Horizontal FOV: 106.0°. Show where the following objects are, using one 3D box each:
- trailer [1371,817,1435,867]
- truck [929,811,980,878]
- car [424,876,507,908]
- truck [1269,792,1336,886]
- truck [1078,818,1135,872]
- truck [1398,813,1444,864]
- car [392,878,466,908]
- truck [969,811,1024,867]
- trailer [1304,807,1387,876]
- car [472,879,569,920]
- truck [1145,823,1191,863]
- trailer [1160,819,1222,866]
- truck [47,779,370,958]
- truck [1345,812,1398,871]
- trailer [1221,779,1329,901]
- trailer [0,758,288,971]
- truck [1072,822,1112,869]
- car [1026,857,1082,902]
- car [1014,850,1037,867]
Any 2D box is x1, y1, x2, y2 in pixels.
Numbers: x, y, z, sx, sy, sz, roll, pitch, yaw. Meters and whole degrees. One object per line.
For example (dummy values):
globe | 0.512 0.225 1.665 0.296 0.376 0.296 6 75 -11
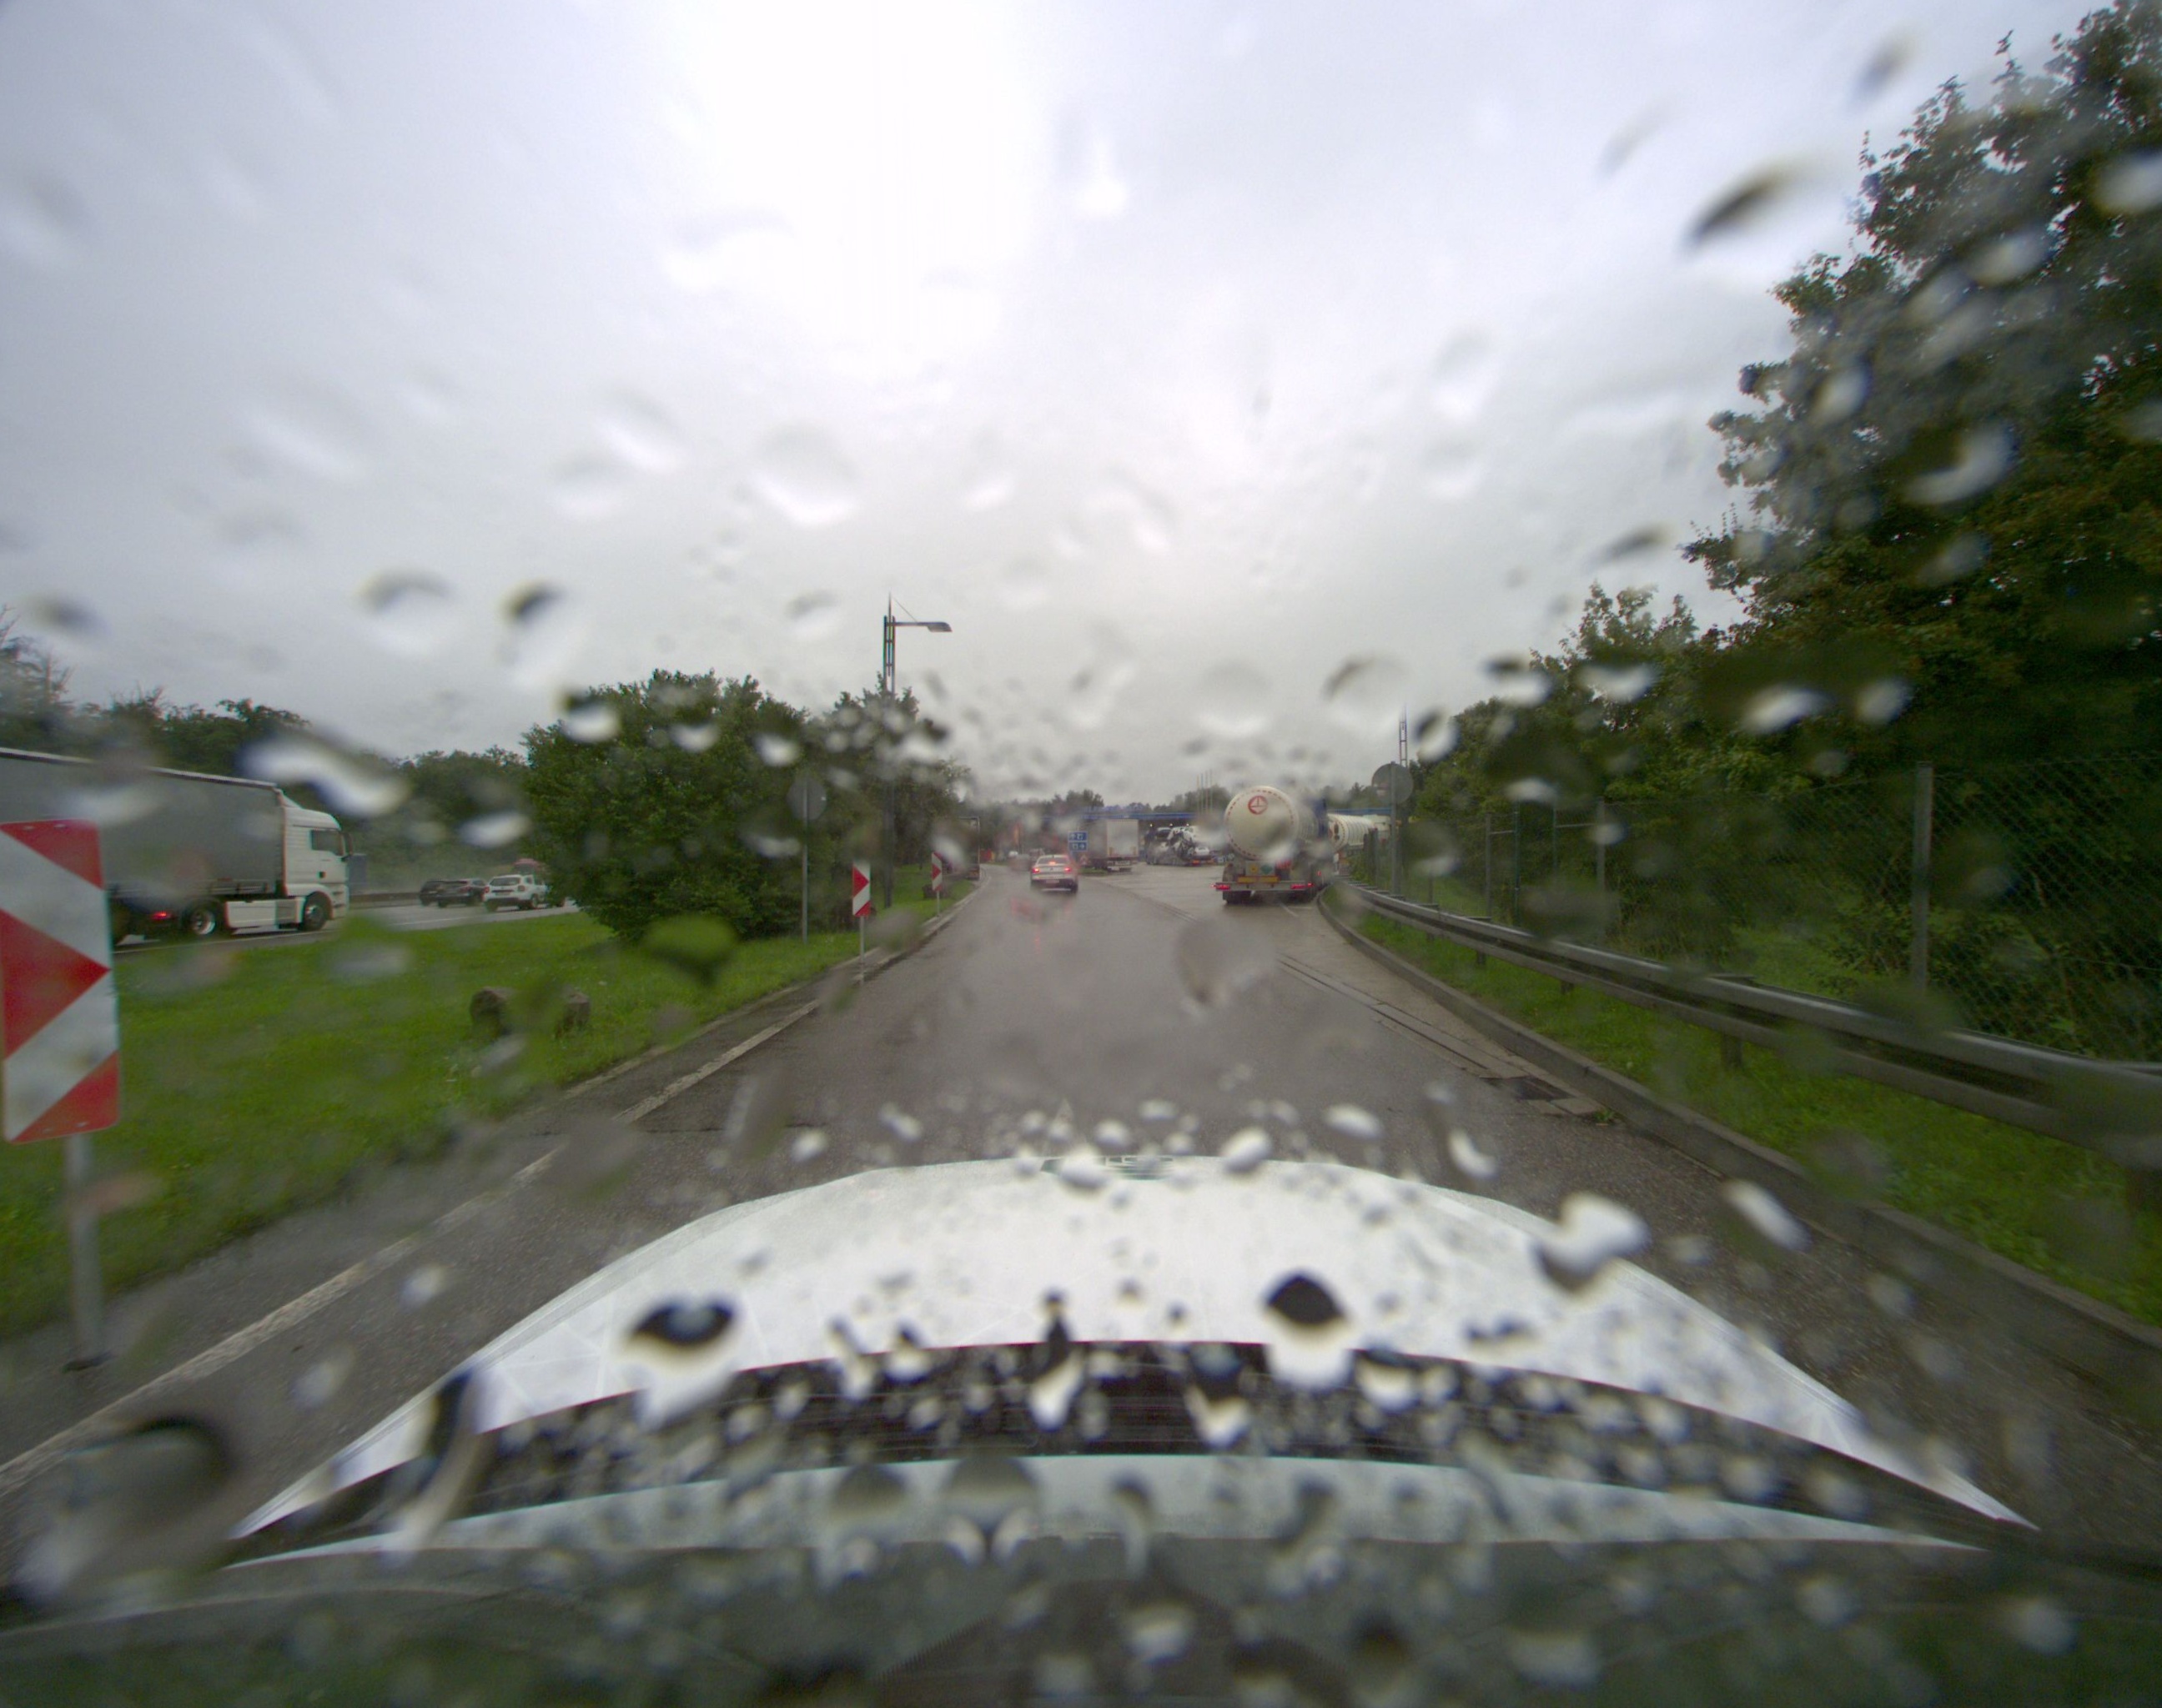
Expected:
trailer | 23.563 -0.882 59.387 2.161 3.392 7.612 -1 0 38
truck | -7.908 -0.569 51.364 2.914 3.904 6.298 -1 0 -8
car | -34.673 2.119 46.062 1.926 1.663 4.443 -2 -1 -10
truck | 9.019 -0.560 32.867 2.035 3.531 4.771 -1 0 21
truck | 1.884 -0.691 66.088 2.370 3.874 12.417 -2 0 -9
truck | 26.235 -1.181 62.827 2.160 3.828 4.168 -1 0 38
car | -40.082 2.371 50.176 1.708 1.750 3.987 1 -1 -9
truck | -8.839 -1.435 83.588 4.792 5.305 11.031 -1 0 -10
trailer | 15.099 -0.684 45.865 2.110 3.440 10.317 -1 0 31
car | -24.774 1.950 36.212 1.785 1.586 4.310 -2 -1 -8
truck | 9.293 -1.155 88.358 3.230 4.188 8.425 0 0 -6
trailer | 10.388 -1.047 78.452 3.212 4.189 11.503 0 0 -6
truck | -22.825 0.393 21.884 2.873 4.053 5.912 -2 -1 -10
truck | 18.285 -0.786 51.161 2.125 3.513 4.675 -1 0 31
trailer | 6.632 -0.384 26.641 1.963 3.224 10.375 -1 0 21
trailer | -21.561 0.245 14.688 2.895 3.983 14.067 -2 -1 -10
truck | 0.904 -0.731 72.572 2.370 3.874 6.991 -2 0 -9
car | -1.004 1.001 32.467 1.986 1.679 4.000 0 -1 1
car | -4.965 0.395 72.998 1.873 1.461 3.997 0 0 -2
